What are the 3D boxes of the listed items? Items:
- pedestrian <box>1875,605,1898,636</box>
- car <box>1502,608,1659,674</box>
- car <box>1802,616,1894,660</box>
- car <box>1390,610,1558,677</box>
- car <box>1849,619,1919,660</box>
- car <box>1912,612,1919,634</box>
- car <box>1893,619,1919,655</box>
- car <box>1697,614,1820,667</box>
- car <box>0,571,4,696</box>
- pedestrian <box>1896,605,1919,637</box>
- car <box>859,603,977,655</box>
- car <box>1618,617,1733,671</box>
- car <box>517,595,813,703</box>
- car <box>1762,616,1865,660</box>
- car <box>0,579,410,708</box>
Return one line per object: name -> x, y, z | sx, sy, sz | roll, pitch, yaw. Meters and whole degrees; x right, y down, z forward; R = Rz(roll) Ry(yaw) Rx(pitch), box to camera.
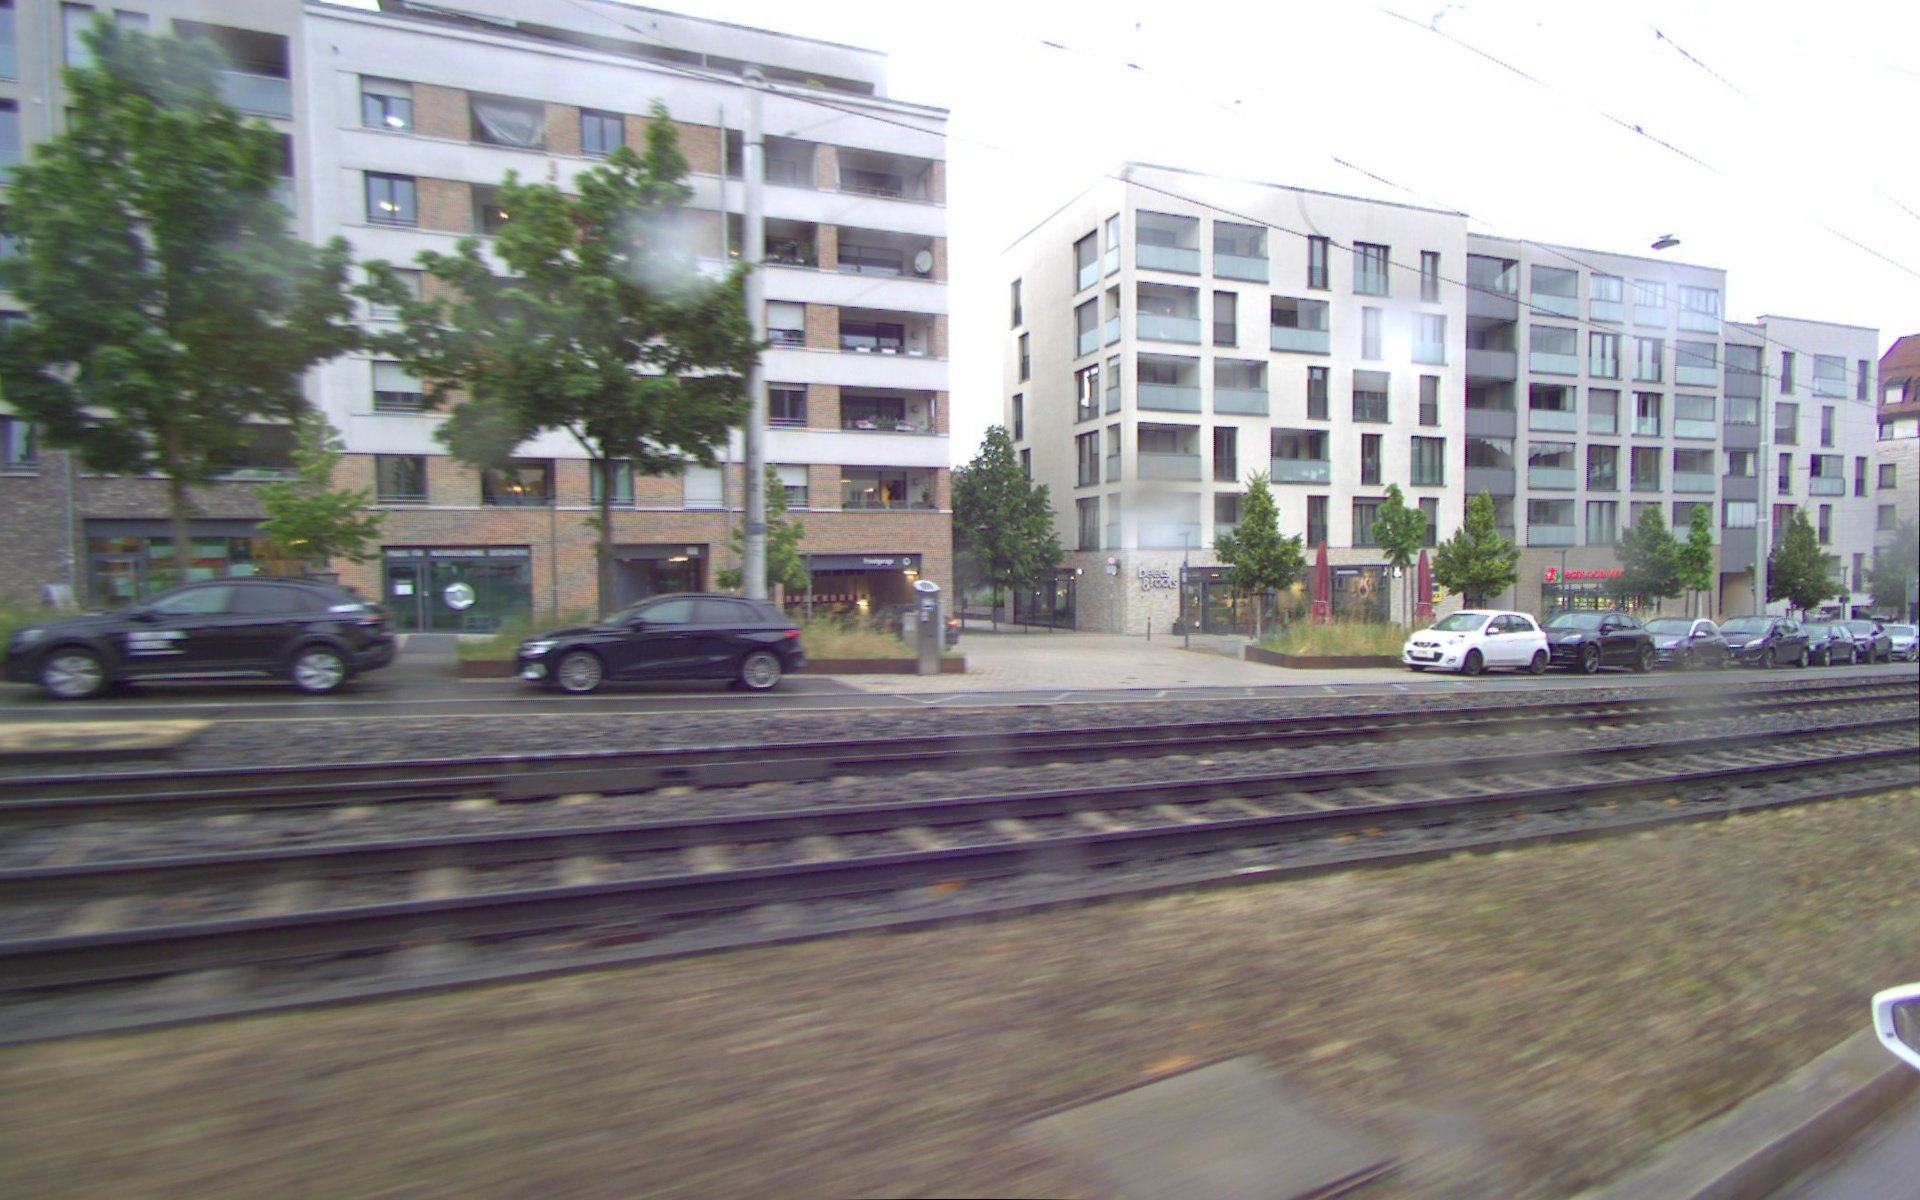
pedestrian -> 61.171, 1.354, 66.337 | 0.757, 2.041, 0.935 | 0, 1, -36
car -> 16.388, 1.047, 26.485 | 4.356, 1.582, 1.756 | 1, 0, -32
car -> 33.108, 1.386, 37.445 | 3.883, 1.524, 1.760 | 1, 0, -36
car -> 12.532, 1.029, 24.478 | 3.684, 1.499, 1.760 | 1, 0, -25
car -> 37.065, 1.534, 39.911 | 4.044, 1.524, 1.760 | 1, 0, -36
car -> 70.388, 1.689, 70.967 | 1.797, 1.589, 4.124 | 1, 1, -23
car -> 42.667, 1.636, 43.952 | 4.195, 1.524, 1.899 | 1, 0, -36
car -> 25.324, 1.253, 31.817 | 4.270, 1.533, 1.710 | 1, 0, -32
car -> -14.214, 0.413, 11.305 | 4.629, 1.605, 1.800 | 1, 1, -21
pedestrian -> 61.412, 1.350, 65.110 | 0.757, 2.041, 0.935 | 0, 1, -36
car -> -1.332, 0.834, 30.175 | 1.745, 1.454, 3.962 | 1, -1, -34
car -> 20.883, 1.265, 29.289 | 3.412, 1.454, 1.541 | 1, 0, -32
car -> -4.548, 0.703, 15.518 | 4.140, 1.450, 1.961 | 1, 1, -24
car -> 29.511, 1.303, 34.692 | 3.965, 1.380, 1.540 | 1, 1, -32
car -> -9.853, 0.534, 13.492 | 4.200, 1.509, 1.731 | 1, 1, -26
